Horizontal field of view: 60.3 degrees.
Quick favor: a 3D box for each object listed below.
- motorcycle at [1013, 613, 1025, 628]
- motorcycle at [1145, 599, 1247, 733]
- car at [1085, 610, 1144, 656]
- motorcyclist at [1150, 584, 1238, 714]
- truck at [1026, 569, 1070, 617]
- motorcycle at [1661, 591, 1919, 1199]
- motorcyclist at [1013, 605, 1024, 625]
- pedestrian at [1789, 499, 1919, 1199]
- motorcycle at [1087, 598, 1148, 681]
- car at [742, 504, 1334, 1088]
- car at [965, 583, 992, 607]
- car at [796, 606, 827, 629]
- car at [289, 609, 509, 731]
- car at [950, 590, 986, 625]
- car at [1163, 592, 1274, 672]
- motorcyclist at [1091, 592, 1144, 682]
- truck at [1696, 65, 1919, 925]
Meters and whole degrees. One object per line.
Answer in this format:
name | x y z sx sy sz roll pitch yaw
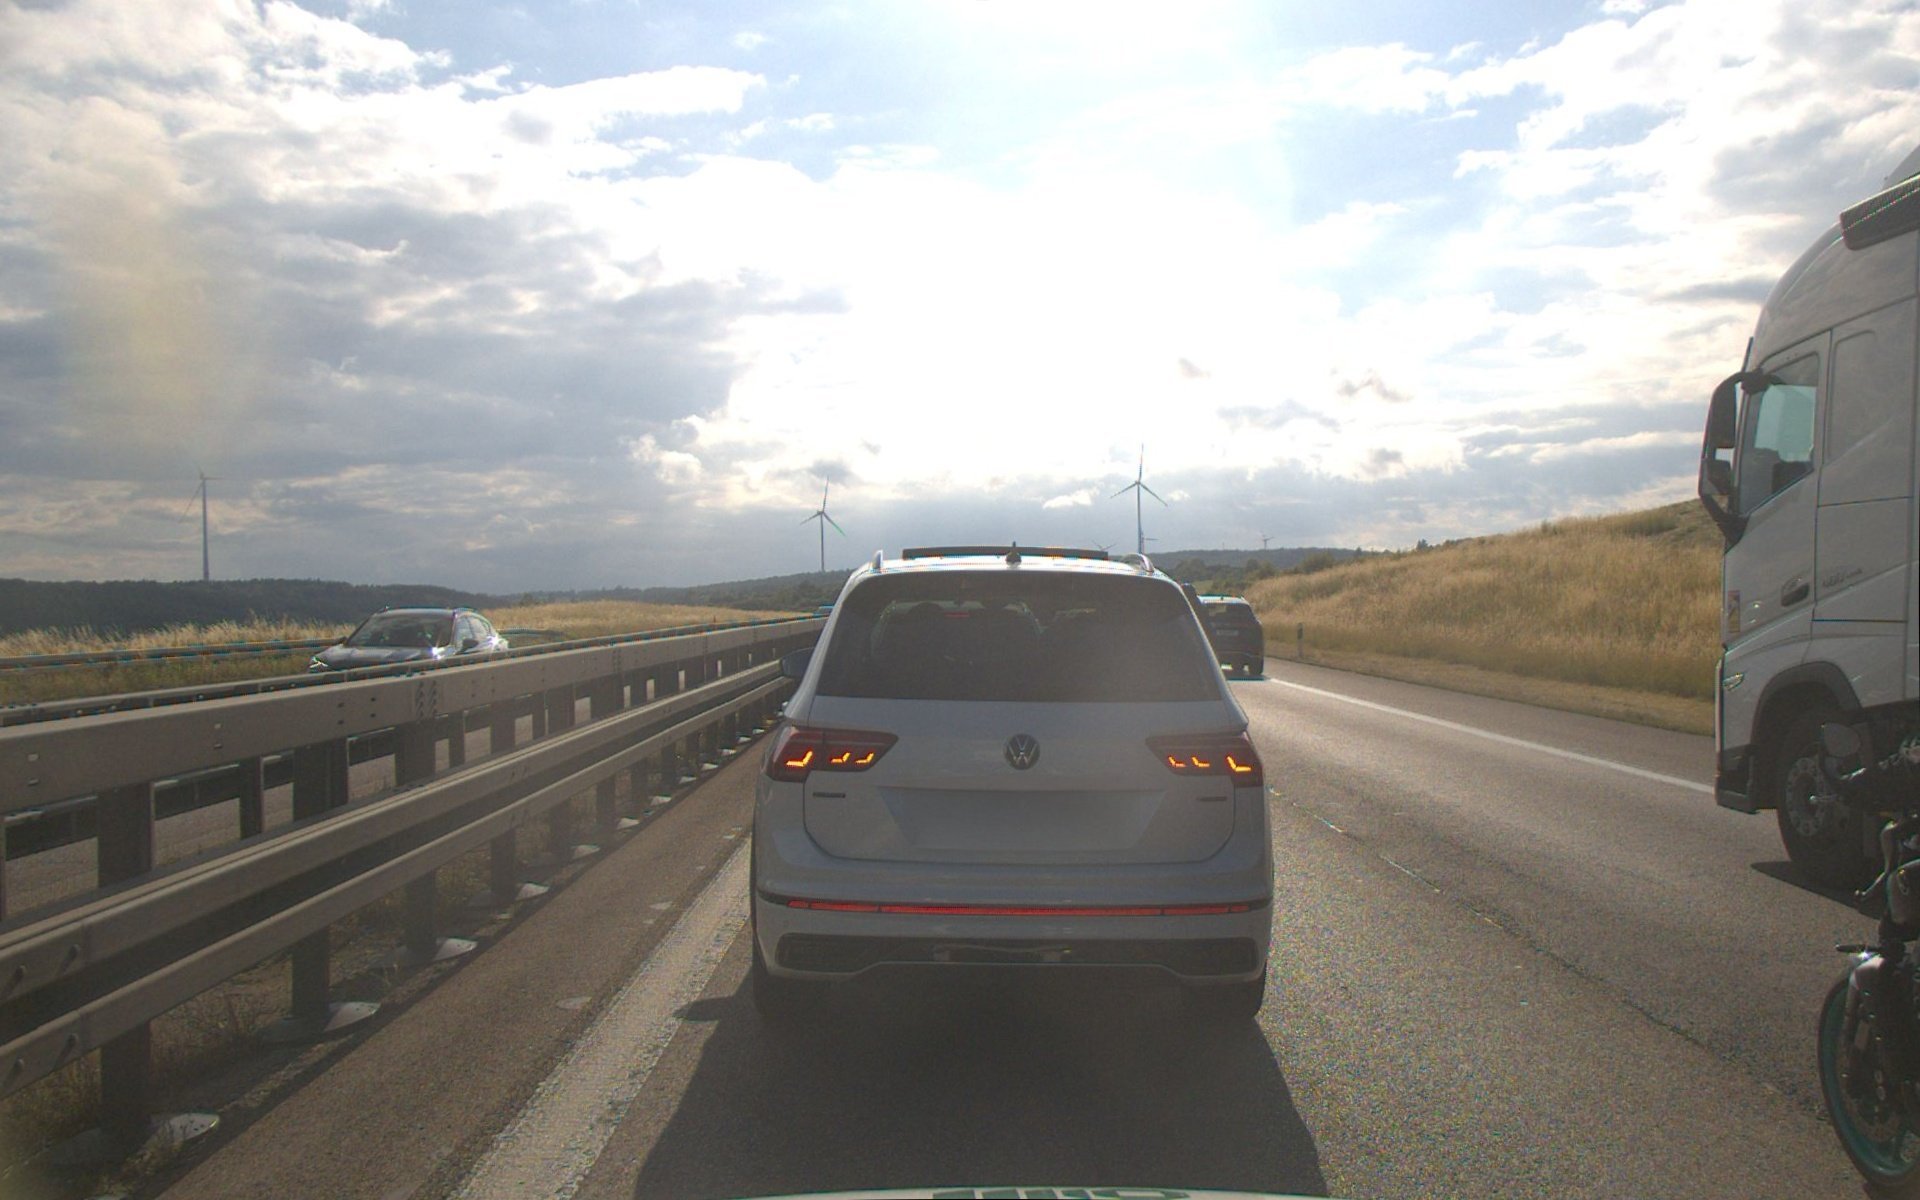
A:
motorcycle | 4.670 1.605 131.305 0.877 1.211 2.256 0 0 -1
motorcycle | 2.732 0.738 19.372 0.877 1.481 1.982 0 0 -1
car | 5.390 1.128 58.150 1.669 1.573 3.999 0 0 -1
motorcyclist | 2.727 0.566 19.345 0.877 1.481 0.892 0 -1 -2
truck | 6.903 -0.566 131.638 3.118 3.656 11.132 0 0 1
motorcycle | 2.368 0.724 3.374 0.877 1.481 2.268 0 0 -1
motorcyclist | 4.673 1.187 131.263 0.832 1.587 0.934 0 -1 -1
pedestrian | 2.365 0.539 3.342 0.877 1.481 0.983 0 -1 -1
motorcycle | 2.910 0.712 30.732 0.877 1.481 2.268 0 0 -1
car | 0.208 0.584 6.855 1.734 1.705 3.999 0 0 -1
car | 1.198 -0.315 110.100 1.669 1.573 3.999 0 0 -1
car | -9.908 1.171 110.552 1.697 1.511 3.999 0 0 -1
car | -7.560 0.888 22.686 1.697 1.511 3.999 0 0 -1
car | 0.362 0.362 80.136 1.669 1.679 3.999 0 0 -1
car | 5.710 0.694 36.939 1.784 1.629 4.234 2 0 0
motorcyclist | 2.913 0.680 30.683 0.877 1.645 1.022 0 -1 -1
truck | 5.881 -0.500 7.173 2.548 4.111 6.118 0 0 -1
